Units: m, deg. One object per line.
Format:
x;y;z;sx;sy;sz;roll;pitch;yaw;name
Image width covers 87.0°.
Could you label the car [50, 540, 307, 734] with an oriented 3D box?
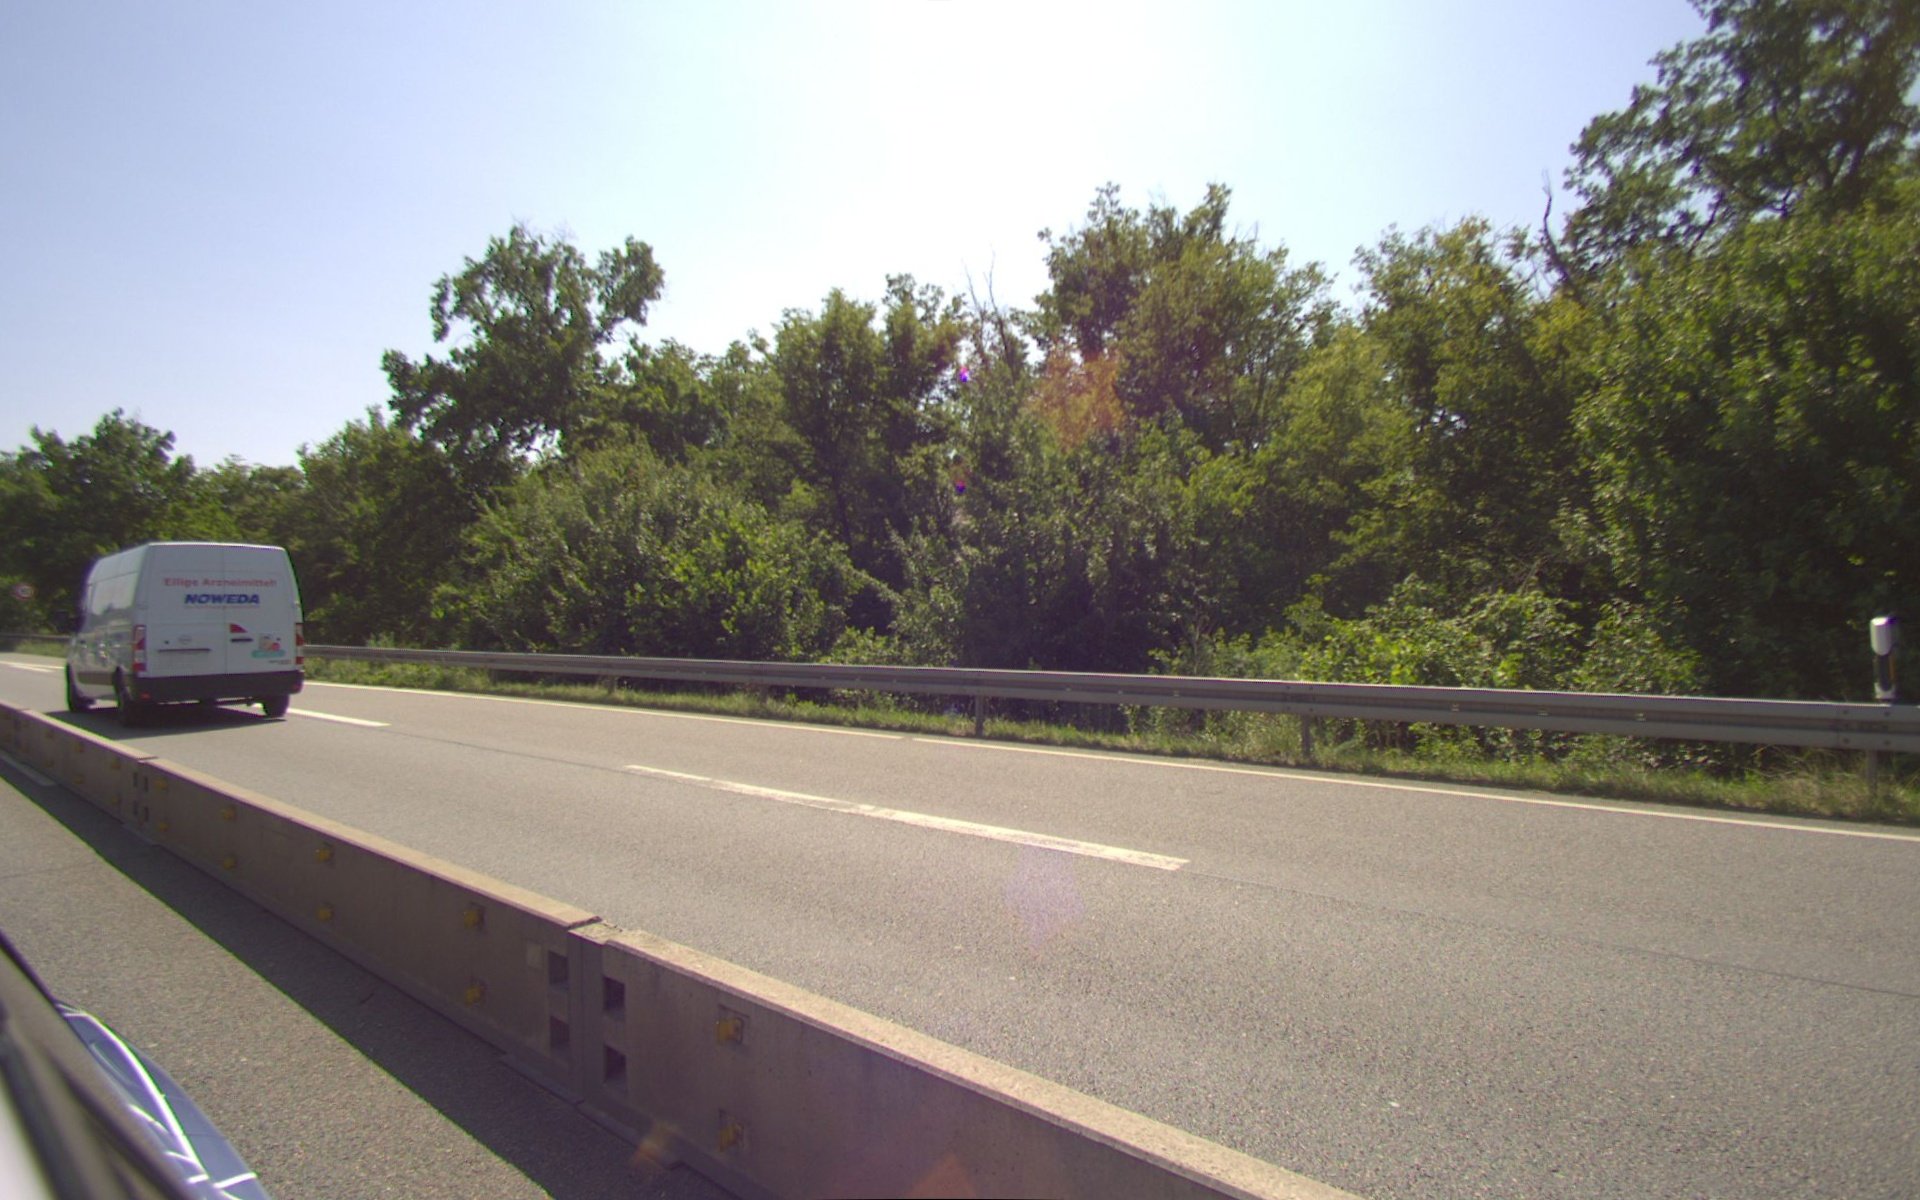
-12.198;0.527;15.624;5.556;2.504;2.040;-1;-1;40;car
